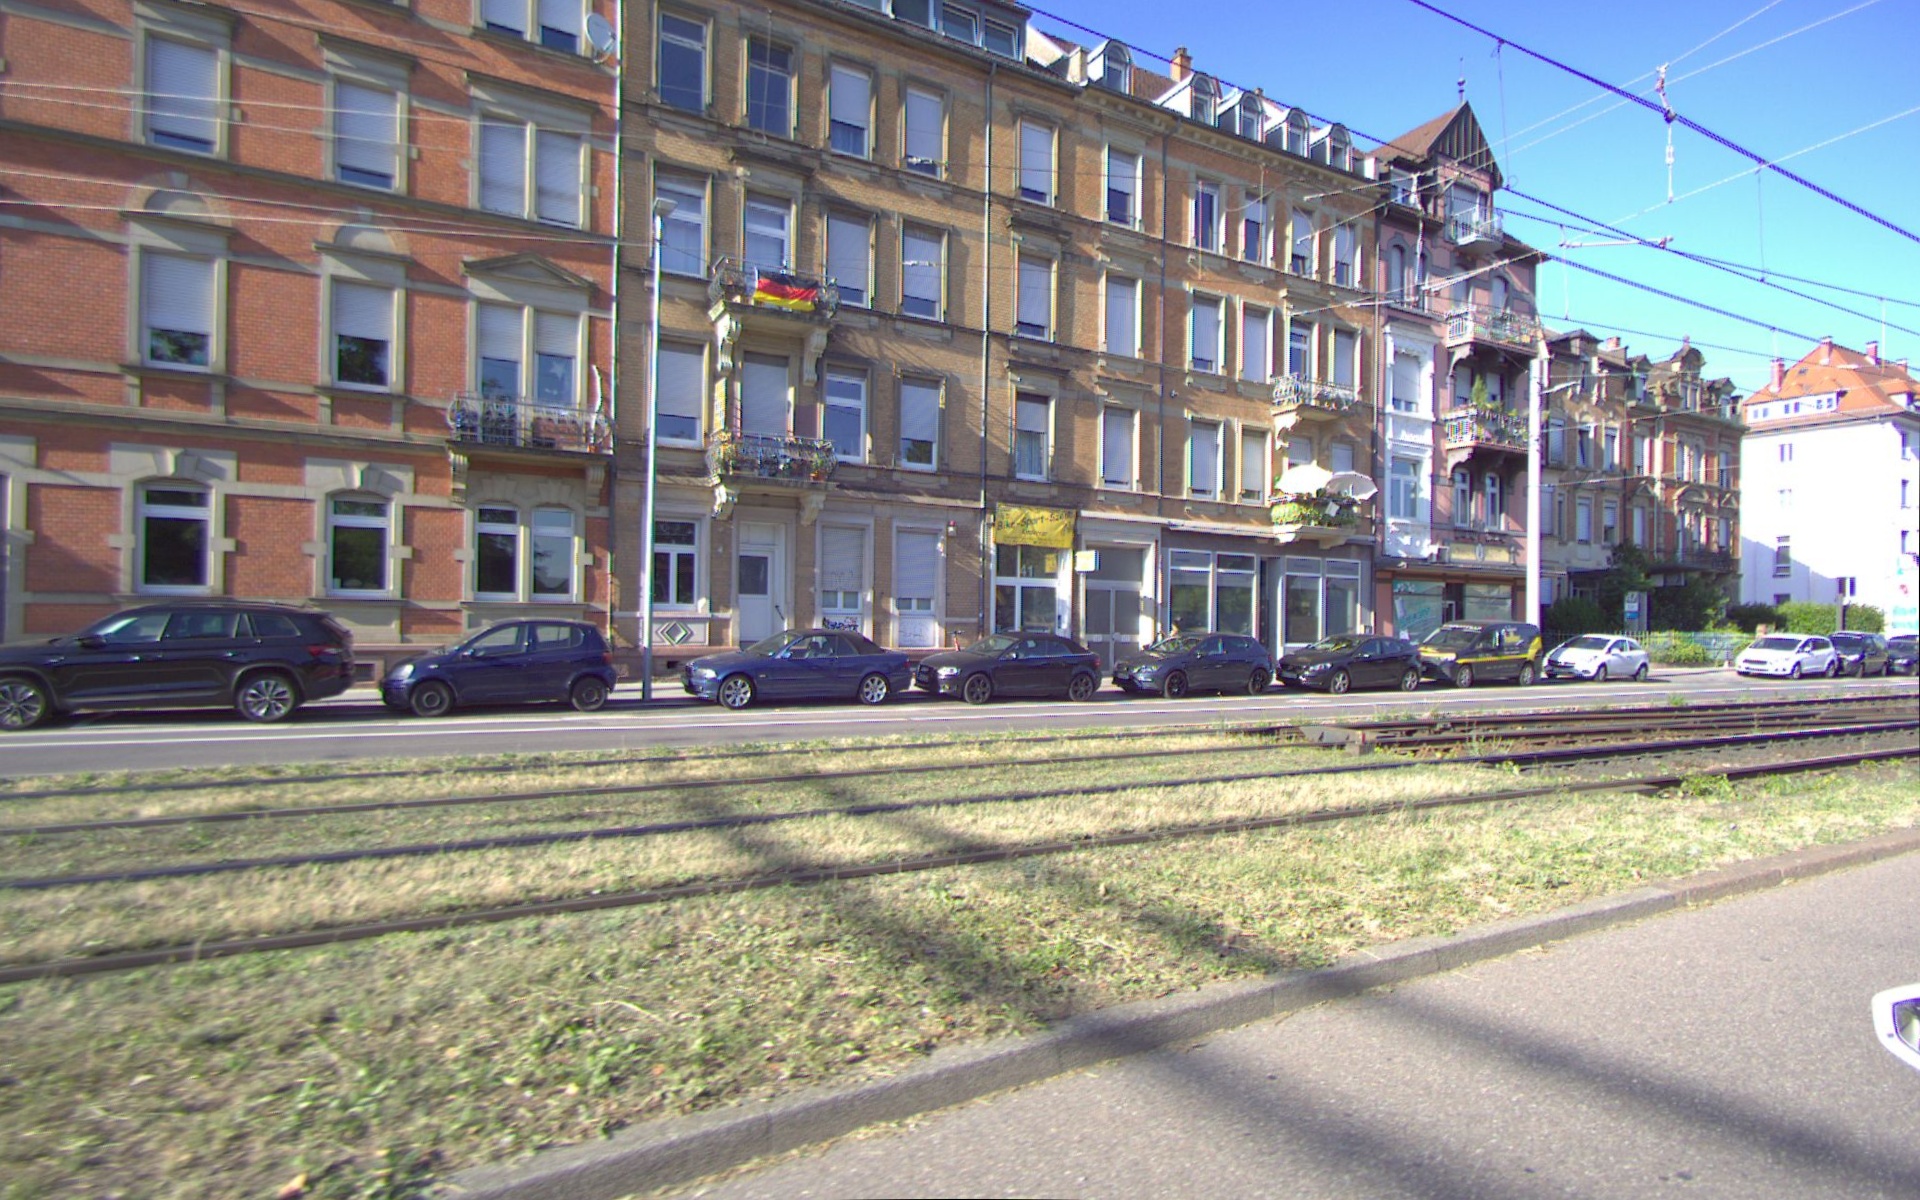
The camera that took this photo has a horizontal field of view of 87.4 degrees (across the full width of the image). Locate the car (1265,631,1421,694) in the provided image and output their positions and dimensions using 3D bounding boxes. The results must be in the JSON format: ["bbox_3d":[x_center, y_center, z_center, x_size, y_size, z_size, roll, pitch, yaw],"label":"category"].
[{"bbox_3d":[9.967,1.583,26.090,3.932,1.465,1.652,1,0,-29],"label":"car"}]

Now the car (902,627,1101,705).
[{"bbox_3d":[0.911,1.362,21.351,3.932,1.465,1.652,1,0,-29],"label":"car"}]

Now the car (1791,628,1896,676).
[{"bbox_3d":[36.436,2.109,41.413,4.444,1.804,1.912,1,0,-30],"label":"car"}]

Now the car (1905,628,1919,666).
[{"bbox_3d":[46.636,2.219,47.058,4.779,1.717,1.913,1,0,-27],"label":"car"}]

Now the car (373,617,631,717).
[{"bbox_3d":[-7.573,1.063,16.737,3.719,1.465,1.652,1,0,-29],"label":"car"}]

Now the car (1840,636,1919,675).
[{"bbox_3d":[40.800,2.393,43.874,4.779,1.581,1.913,1,0,-27],"label":"car"}]

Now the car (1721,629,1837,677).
[{"bbox_3d":[31.828,2.010,39.006,4.571,1.706,1.912,1,0,-29],"label":"car"}]

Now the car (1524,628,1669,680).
[{"bbox_3d":[21.003,1.763,33.109,4.565,1.559,1.914,1,0,-26],"label":"car"}]

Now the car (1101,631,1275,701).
[{"bbox_3d":[5.426,1.522,23.861,3.932,1.465,1.652,1,0,-29],"label":"car"}]

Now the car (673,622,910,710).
[{"bbox_3d":[-3.185,1.206,19.146,4.145,1.465,1.652,1,0,-29],"label":"car"}]

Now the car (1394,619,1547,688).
[{"bbox_3d":[14.791,1.504,29.048,4.673,1.831,1.652,1,0,-30],"label":"car"}]

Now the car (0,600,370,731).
[{"bbox_3d":[-11.304,0.891,14.584,4.570,1.665,1.788,1,0,-27],"label":"car"}]

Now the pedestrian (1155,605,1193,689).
[{"bbox_3d":[5.419,1.175,25.434,0.625,2.040,0.875,2,0,31],"label":"pedestrian"}]
